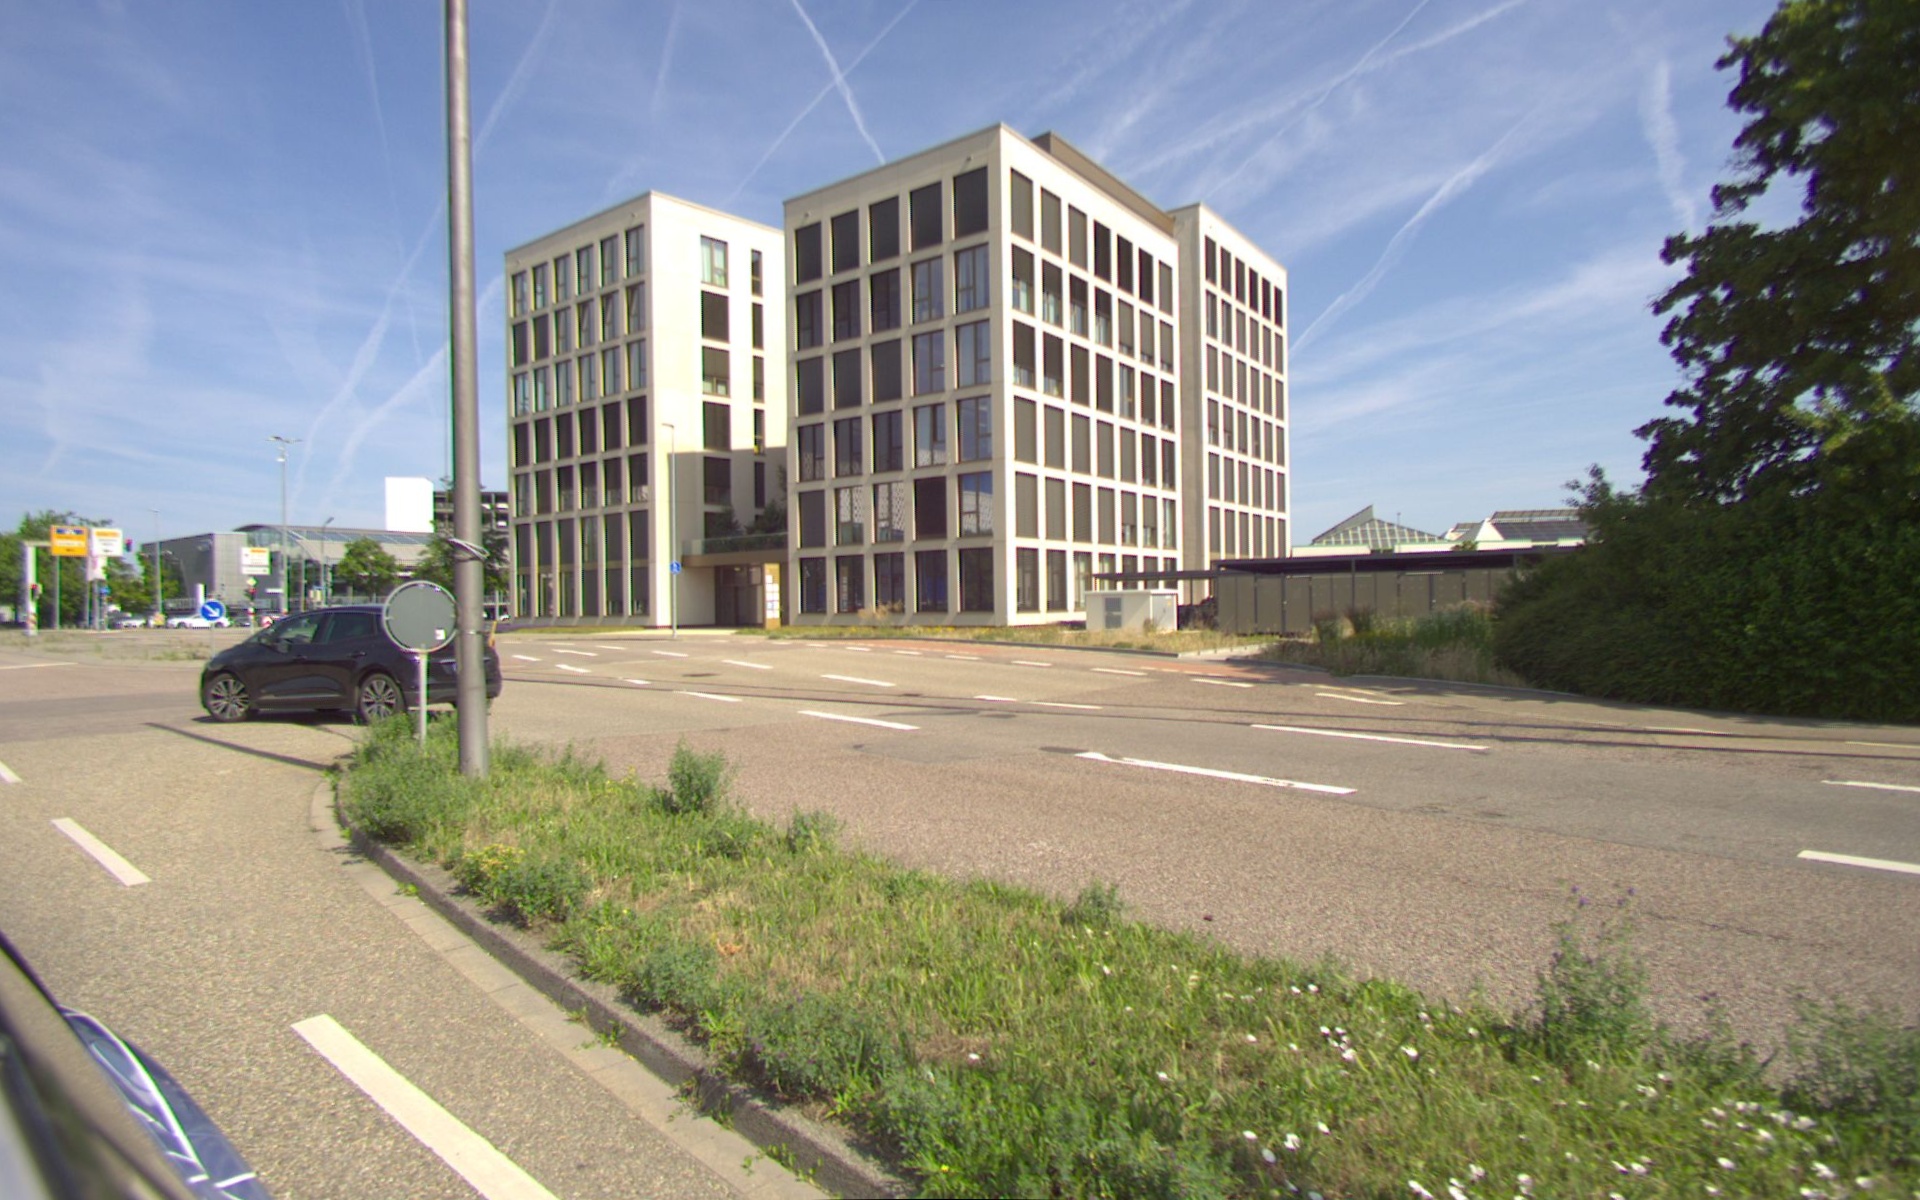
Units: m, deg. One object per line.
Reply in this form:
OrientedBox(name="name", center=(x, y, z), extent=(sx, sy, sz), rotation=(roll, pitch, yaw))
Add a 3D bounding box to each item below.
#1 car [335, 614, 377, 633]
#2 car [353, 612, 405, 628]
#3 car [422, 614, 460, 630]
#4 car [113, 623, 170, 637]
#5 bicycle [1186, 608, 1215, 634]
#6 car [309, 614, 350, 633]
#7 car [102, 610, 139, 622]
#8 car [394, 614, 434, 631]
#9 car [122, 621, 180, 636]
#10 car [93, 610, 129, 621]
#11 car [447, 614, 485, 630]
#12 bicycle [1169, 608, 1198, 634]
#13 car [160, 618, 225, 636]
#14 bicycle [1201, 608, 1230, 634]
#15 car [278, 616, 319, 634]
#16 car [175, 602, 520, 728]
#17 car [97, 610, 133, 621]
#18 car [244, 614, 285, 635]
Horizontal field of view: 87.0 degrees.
OrientedBox(name="car", center=(-59.058, 2.297, 98.901), extent=(4.767, 1.517, 1.772), rotation=(-5, -3, 36))
OrientedBox(name="car", center=(-51.603, 1.761, 89.912), extent=(3.748, 1.299, 1.661), rotation=(0, 0, -45))
OrientedBox(name="car", center=(-53.981, 2.296, 105.221), extent=(4.393, 1.453, 1.772), rotation=(-4, -2, 36))
OrientedBox(name="car", center=(-79.967, 2.935, 98.904), extent=(1.865, 1.329, 3.951), rotation=(-1, -3, 36))
OrientedBox(name="bicycle", center=(10.551, 0.913, 44.328), extent=(0.587, 1.099, 1.687), rotation=(-1, 0, 38))
OrientedBox(name="car", center=(-60.207, 2.233, 96.620), extent=(4.367, 1.556, 1.772), rotation=(-4, -3, 36))
OrientedBox(name="car", center=(-132.118, 2.554, 159.238), extent=(1.687, 1.745, 4.147), rotation=(-2, -3, 37))
OrientedBox(name="car", center=(-55.641, 2.317, 103.080), extent=(4.622, 1.453, 1.772), rotation=(-4, -3, 36))
OrientedBox(name="car", center=(-77.829, 2.776, 97.391), extent=(1.874, 1.380, 4.036), rotation=(-1, -3, 36))
OrientedBox(name="car", center=(-136.119, 2.496, 162.213), extent=(1.687, 1.511, 4.147), rotation=(-2, -3, 37))
OrientedBox(name="car", center=(-52.472, 2.340, 107.448), extent=(4.550, 1.453, 1.772), rotation=(-4, -2, 36))
OrientedBox(name="bicycle", center=(9.918, 0.924, 44.826), extent=(0.587, 1.099, 1.687), rotation=(-1, 0, 38))
OrientedBox(name="car", center=(-69.271, 2.427, 91.365), extent=(1.897, 1.443, 4.331), rotation=(-2, -1, 38))
OrientedBox(name="bicycle", center=(11.084, 0.909, 43.886), extent=(0.587, 1.099, 1.687), rotation=(-1, 0, 38))
OrientedBox(name="car", center=(-61.547, 2.293, 94.139), extent=(4.191, 1.453, 1.772), rotation=(-4, -3, 36))
OrientedBox(name="car", center=(-8.788, 0.894, 14.611), extent=(4.233, 1.618, 1.912), rotation=(-1, -1, 16))
OrientedBox(name="car", center=(-134.242, 2.500, 160.830), extent=(1.687, 1.511, 4.147), rotation=(-2, -3, 37))
OrientedBox(name="car", center=(-63.372, 2.208, 92.187), extent=(4.587, 1.626, 1.797), rotation=(-5, -3, 37))
